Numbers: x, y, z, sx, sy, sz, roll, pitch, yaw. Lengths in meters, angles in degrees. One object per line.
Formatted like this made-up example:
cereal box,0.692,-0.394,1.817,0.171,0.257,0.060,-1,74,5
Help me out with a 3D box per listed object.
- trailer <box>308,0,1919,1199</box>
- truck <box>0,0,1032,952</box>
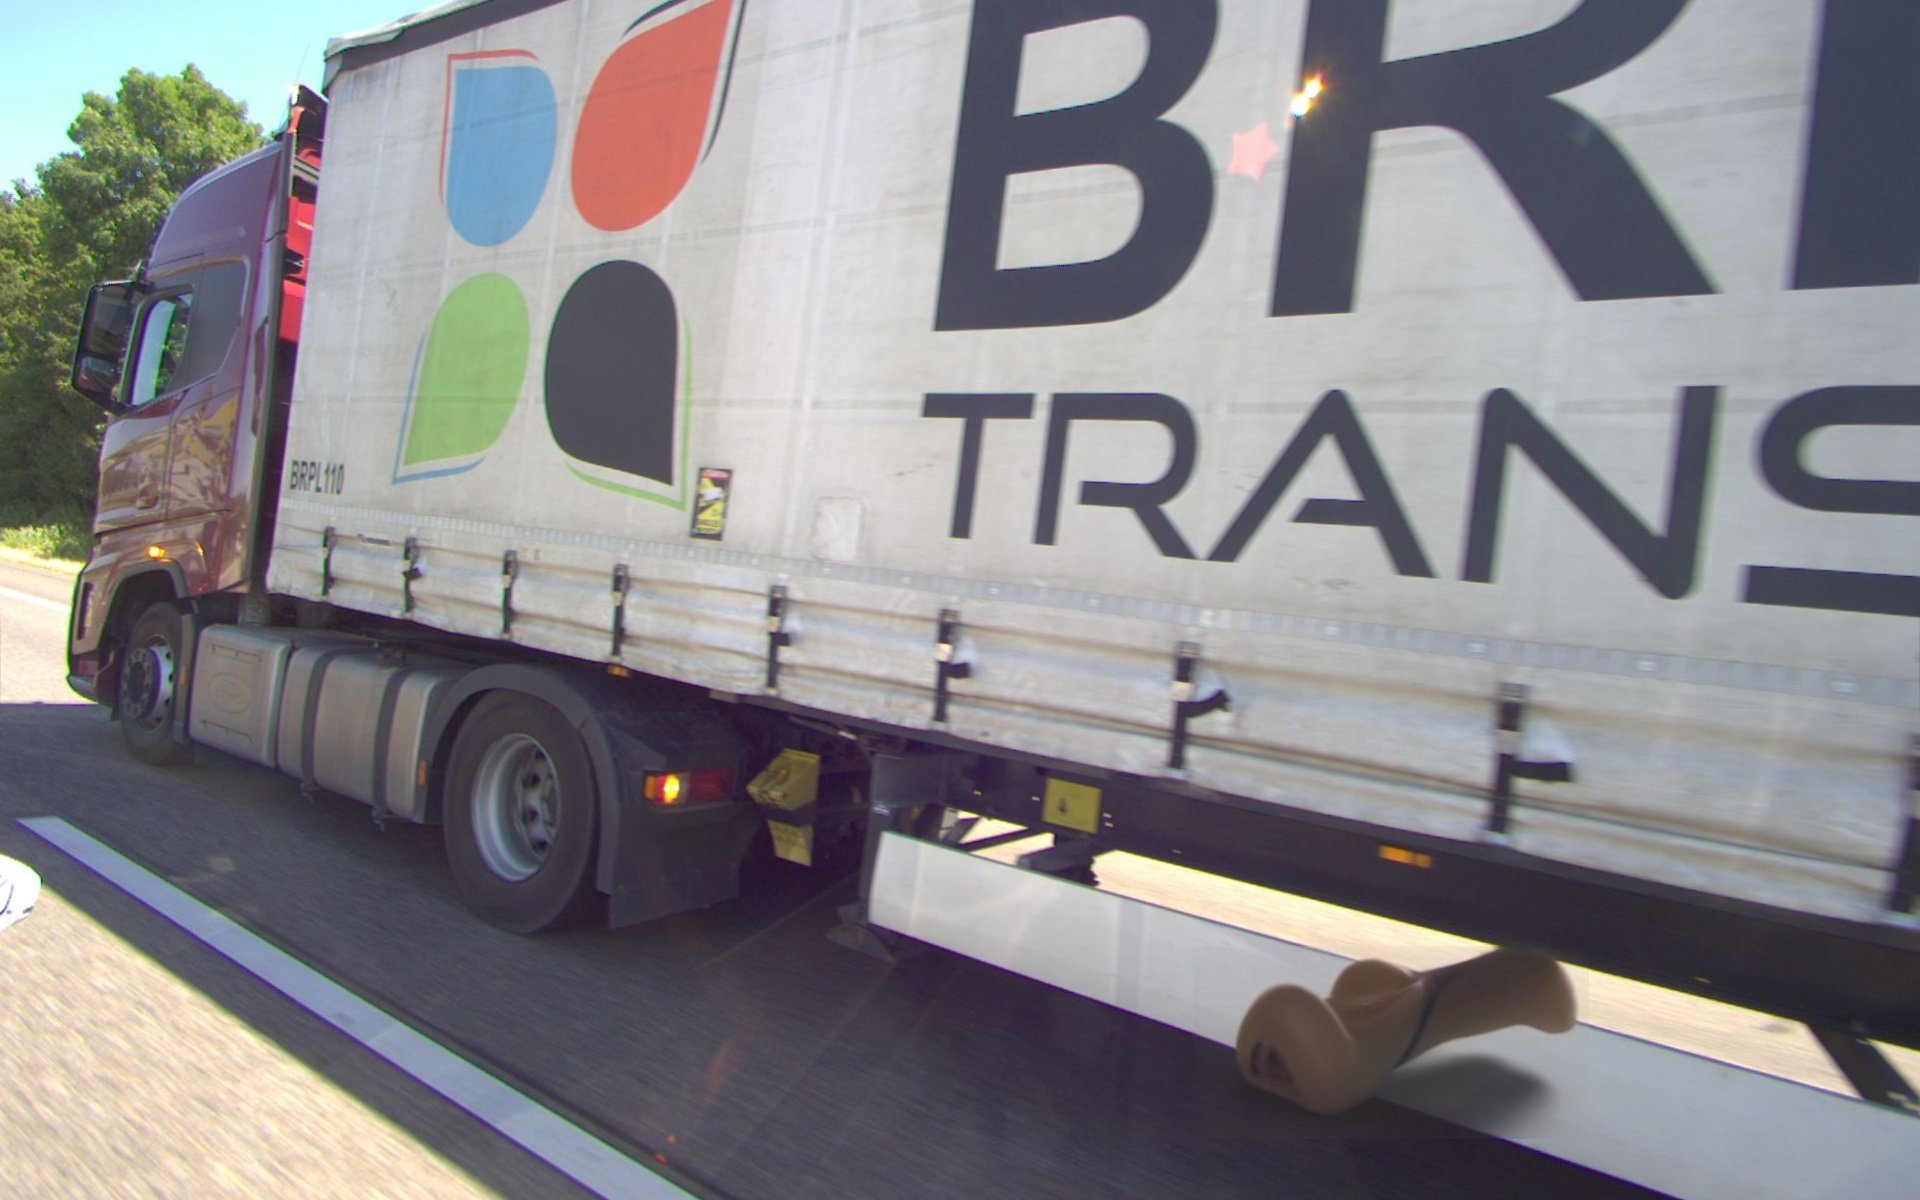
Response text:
trailer,4.168,-0.182,2.117,14.651,4.560,3.111,6,-1,32
truck,-3.092,-1.015,6.736,5.953,4.493,3.092,6,-1,32
